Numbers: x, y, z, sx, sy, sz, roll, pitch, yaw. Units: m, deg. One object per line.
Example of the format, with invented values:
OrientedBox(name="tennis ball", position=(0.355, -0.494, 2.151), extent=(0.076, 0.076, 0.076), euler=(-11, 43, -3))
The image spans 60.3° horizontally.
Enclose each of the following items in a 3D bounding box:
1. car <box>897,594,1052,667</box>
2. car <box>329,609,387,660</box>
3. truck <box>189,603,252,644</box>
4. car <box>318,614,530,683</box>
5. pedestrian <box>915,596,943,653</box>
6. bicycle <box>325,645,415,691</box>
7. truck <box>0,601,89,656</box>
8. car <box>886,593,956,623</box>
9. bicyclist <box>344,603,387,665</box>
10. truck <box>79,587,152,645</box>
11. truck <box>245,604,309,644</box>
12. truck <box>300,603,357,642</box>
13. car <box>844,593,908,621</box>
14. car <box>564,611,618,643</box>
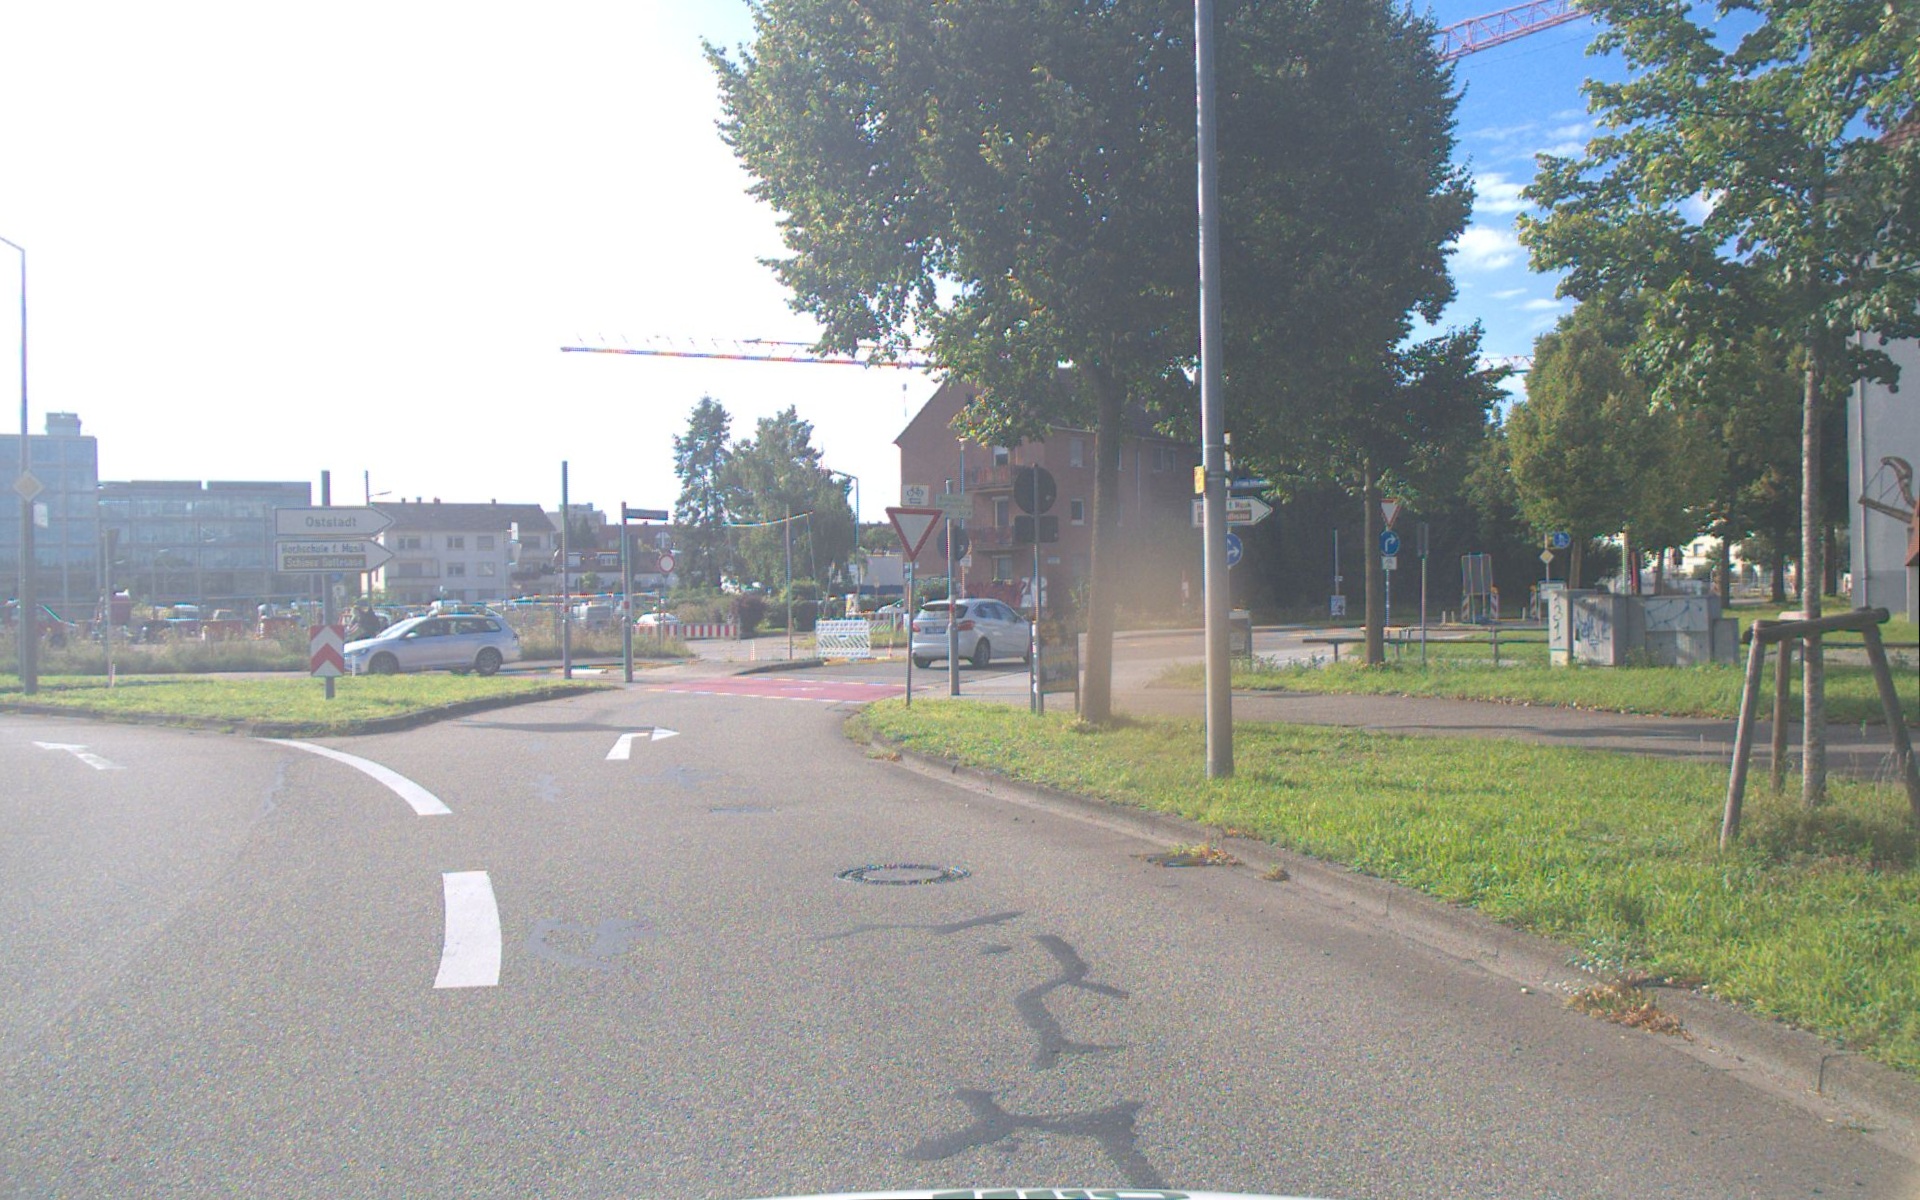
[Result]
OrientedBox(name="car", position=(0.417, 0.677, 39.193), extent=(1.815, 1.600, 4.448), euler=(0, 0, 28))
OrientedBox(name="car", position=(-22.656, 1.274, 62.340), extent=(1.850, 1.847, 3.979), euler=(-1, 0, -18))
OrientedBox(name="truck", position=(-44.789, 1.411, 100.068), extent=(2.308, 2.369, 6.372), euler=(-1, 0, -35))
OrientedBox(name="car", position=(-12.764, 1.121, 39.558), extent=(4.504, 1.478, 1.796), euler=(-1, 0, -42))
OrientedBox(name="pedestrian", position=(-1.049, 0.834, 56.025), extent=(0.653, 1.903, 0.835), euler=(-1, 0, 23))
OrientedBox(name="bicycle", position=(-15.280, 1.754, 42.860), extent=(2.166, 1.081, 0.701), euler=(-2, 0, -21))
OrientedBox(name="truck", position=(-48.023, 1.449, 82.646), extent=(7.760, 2.612, 3.040), euler=(-1, 0, -33))
OrientedBox(name="car", position=(-2.305, 0.462, 97.474), extent=(3.902, 1.646, 1.774), euler=(-1, 0, 6))
OrientedBox(name="bicyclist", position=(-15.383, 0.872, 42.814), extent=(0.993, 1.538, 0.700), euler=(-2, 0, -22))
OrientedBox(name="truck", position=(-49.300, 0.929, 96.495), extent=(2.785, 3.263, 7.224), euler=(-1, 0, -35))
OrientedBox(name="truck", position=(-42.220, 1.491, 102.178), extent=(2.308, 2.369, 6.372), euler=(-1, 0, -35))
OrientedBox(name="truck", position=(-39.680, 1.424, 103.870), extent=(2.040, 2.369, 5.568), euler=(-1, 0, -35))
OrientedBox(name="car", position=(-5.269, 0.454, 103.158), extent=(3.909, 1.646, 1.771), euler=(-1, 0, -5))
OrientedBox(name="car", position=(-22.401, 1.619, 100.340), extent=(1.863, 1.847, 3.952), euler=(-1, 0, -34))
